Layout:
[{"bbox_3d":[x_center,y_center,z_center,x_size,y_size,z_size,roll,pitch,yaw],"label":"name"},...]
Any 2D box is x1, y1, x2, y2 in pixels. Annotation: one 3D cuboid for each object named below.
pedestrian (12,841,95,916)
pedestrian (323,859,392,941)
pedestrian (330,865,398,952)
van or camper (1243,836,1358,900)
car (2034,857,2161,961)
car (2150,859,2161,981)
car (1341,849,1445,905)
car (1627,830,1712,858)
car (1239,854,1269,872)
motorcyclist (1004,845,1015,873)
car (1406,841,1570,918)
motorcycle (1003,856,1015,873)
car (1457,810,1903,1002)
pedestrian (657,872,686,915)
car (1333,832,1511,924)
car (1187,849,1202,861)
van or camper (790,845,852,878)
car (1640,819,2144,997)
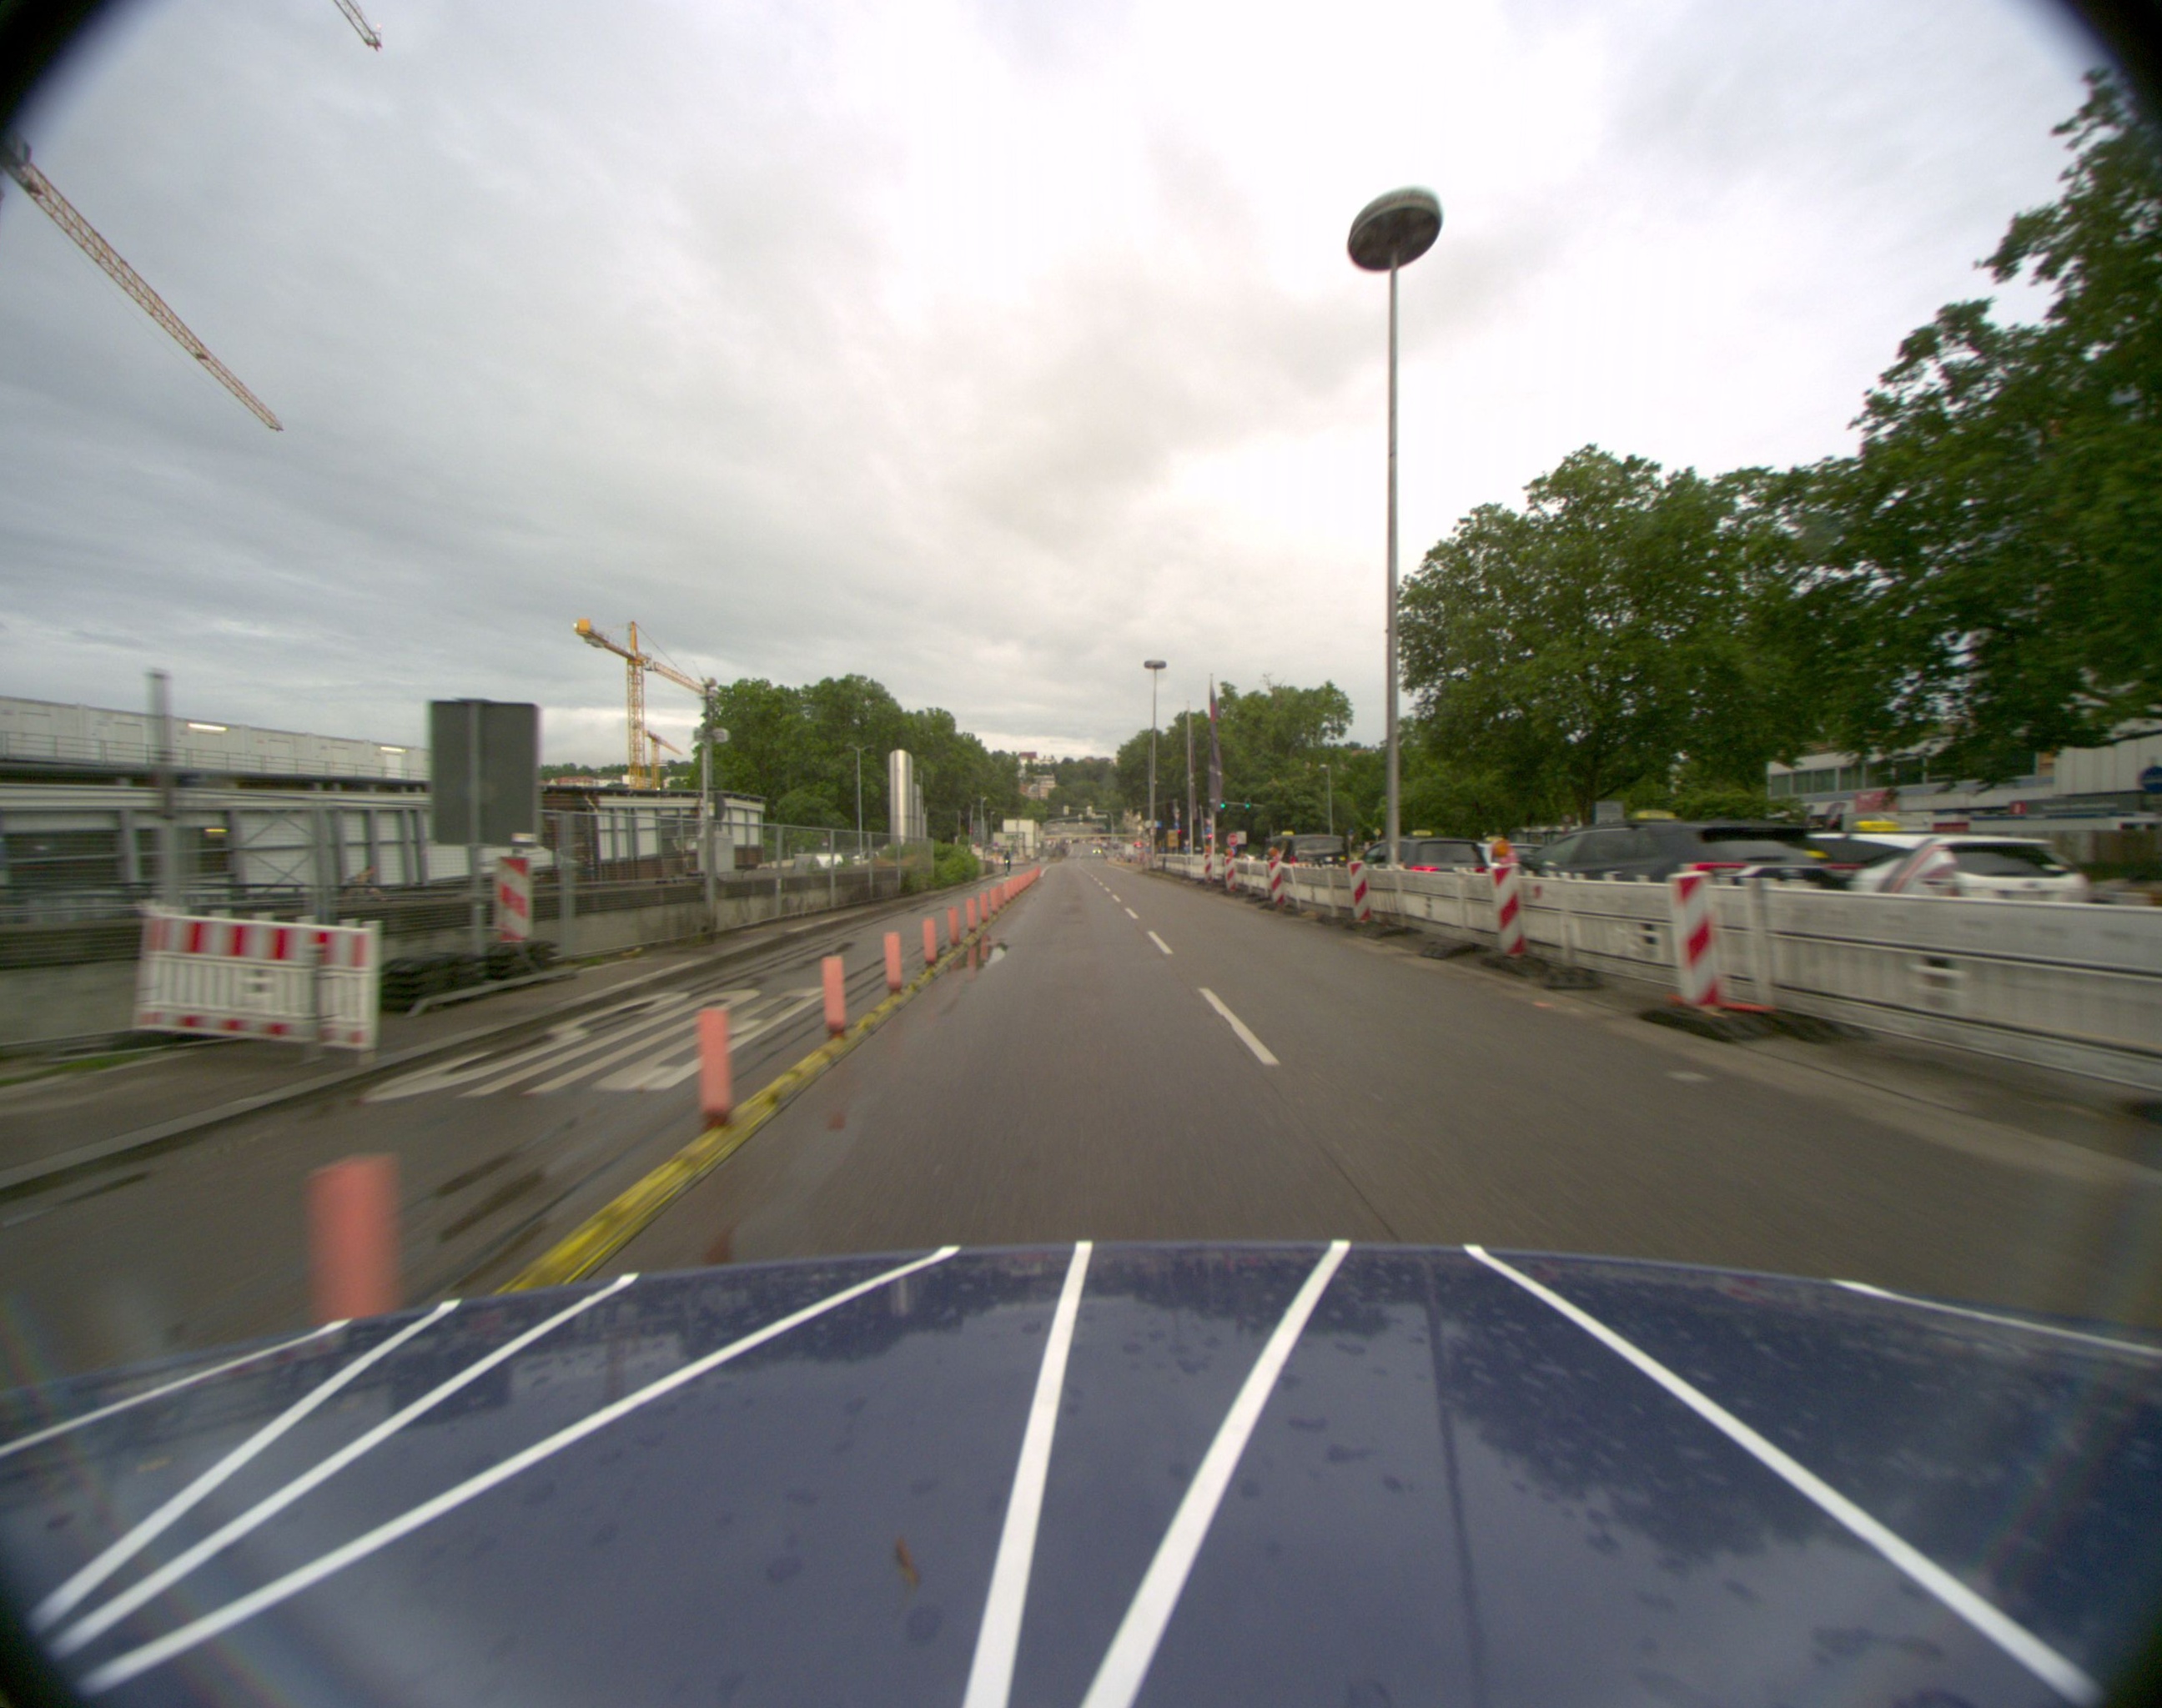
[{"bbox_3d":[-25.151,0.594,18.615,0.951,1.783,0.770,0,1,2],"label":"pedestrian"},{"bbox_3d":[-18.344,1.148,19.289,0.867,2.002,0.765,-3,2,-3],"label":"pedestrian"},{"bbox_3d":[-17.294,1.288,18.355,0.780,2.002,0.765,-3,2,-3],"label":"pedestrian"},{"bbox_3d":[6.956,0.391,24.729,1.951,1.809,5.390,1,0,-2],"label":"van or camper"},{"bbox_3d":[18.692,0.928,12.212,1.997,1.608,4.002,-2,1,8],"label":"car"},{"bbox_3d":[13.719,0.762,7.033,1.999,1.434,3.999,-2,1,-1],"label":"car"},{"bbox_3d":[10.394,0.712,25.675,1.894,1.692,4.302,-1,0,3],"label":"car"},{"bbox_3d":[45.411,-0.743,58.744,2.039,2.002,4.822,-2,1,-31],"label":"car"},{"bbox_3d":[17.010,0.854,74.792,1.998,1.622,4.819,-2,0,3],"label":"car"},{"bbox_3d":[-5.231,0.352,55.728,0.726,2.024,0.587,0,0,-2],"label":"motorcyclist"},{"bbox_3d":[10.229,0.579,19.540,1.895,1.692,4.422,-2,0,1],"label":"car"},{"bbox_3d":[-5.235,0.758,55.688,0.730,1.221,2.161,0,0,-1],"label":"motorcycle"},{"bbox_3d":[6.832,0.498,9.581,1.998,1.806,4.812,0,0,3],"label":"car"},{"bbox_3d":[-18.181,1.753,33.755,0.673,1.821,1.014,-1,1,-1],"label":"pedestrian"},{"bbox_3d":[7.320,0.463,16.928,1.998,1.760,4.812,0,0,3],"label":"car"},{"bbox_3d":[14.339,0.118,95.997,1.682,1.533,3.175,0,0,5],"label":"car"},{"bbox_3d":[-20.113,0.570,58.651,2.391,2.387,6.046,0,-1,-42],"label":"van or camper"},{"bbox_3d":[10.055,0.554,10.145,1.919,1.840,4.566,0,0,2],"label":"car"}]
